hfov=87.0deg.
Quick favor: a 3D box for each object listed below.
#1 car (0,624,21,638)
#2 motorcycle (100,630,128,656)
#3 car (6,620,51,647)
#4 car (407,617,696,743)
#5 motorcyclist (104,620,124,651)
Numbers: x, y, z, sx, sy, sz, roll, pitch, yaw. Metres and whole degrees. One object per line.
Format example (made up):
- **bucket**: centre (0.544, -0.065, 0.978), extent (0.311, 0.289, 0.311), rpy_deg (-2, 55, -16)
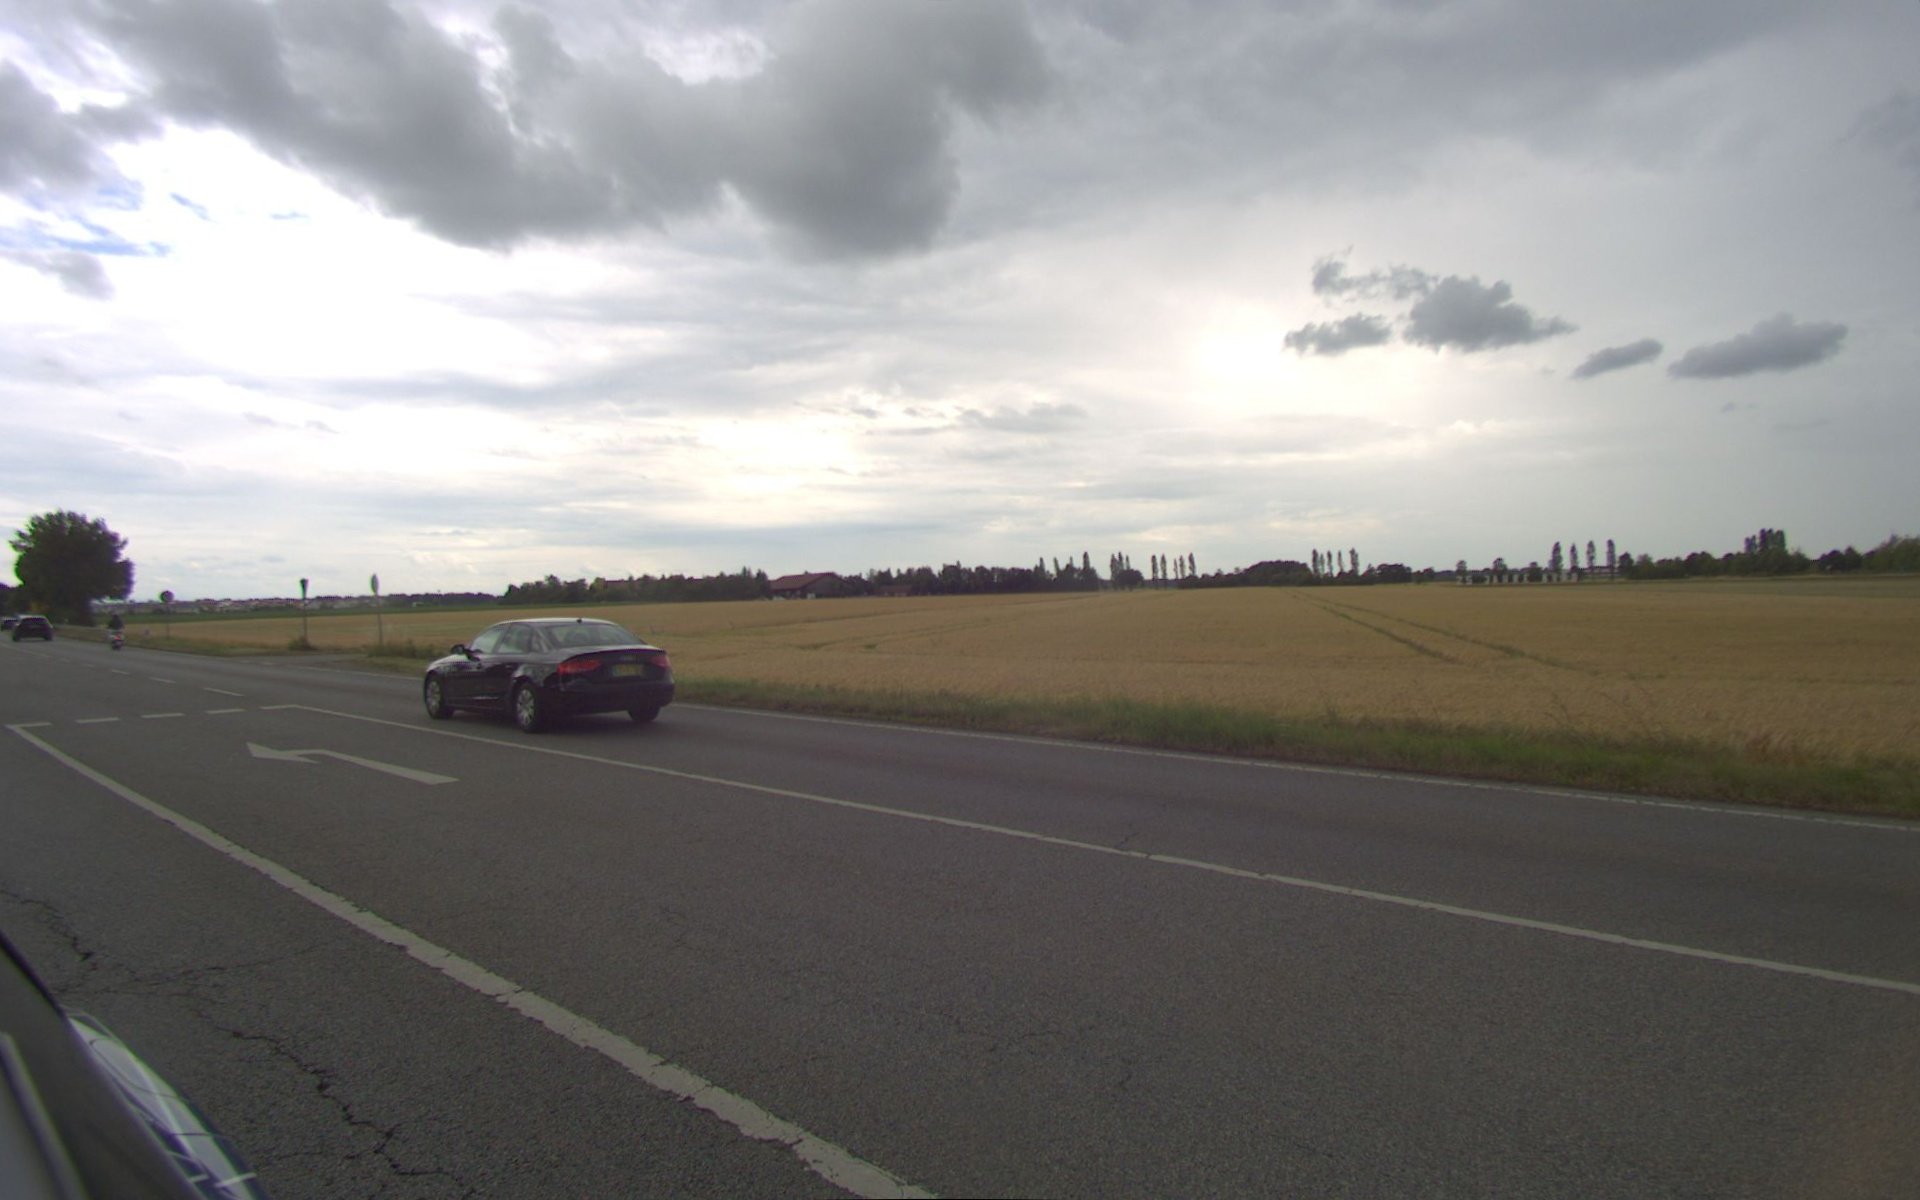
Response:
- **car**: centre (-107.113, 3.507, 113.791), extent (1.968, 1.521, 4.007), rpy_deg (1, -2, -40)
- **motorcycle**: centre (-38.715, 1.944, 46.295), extent (2.024, 1.157, 0.718), rpy_deg (-1, -1, 43)
- **car**: centre (-60.771, 2.151, 66.022), extent (4.448, 1.707, 1.925), rpy_deg (-1, -1, 44)
- **car**: centre (-5.654, 0.973, 13.744), extent (4.421, 1.421, 1.808), rpy_deg (-1, -1, 40)
- **motorcyclist**: centre (-38.688, 1.625, 46.273), extent (0.809, 1.394, 0.633), rpy_deg (-1, -1, 43)
